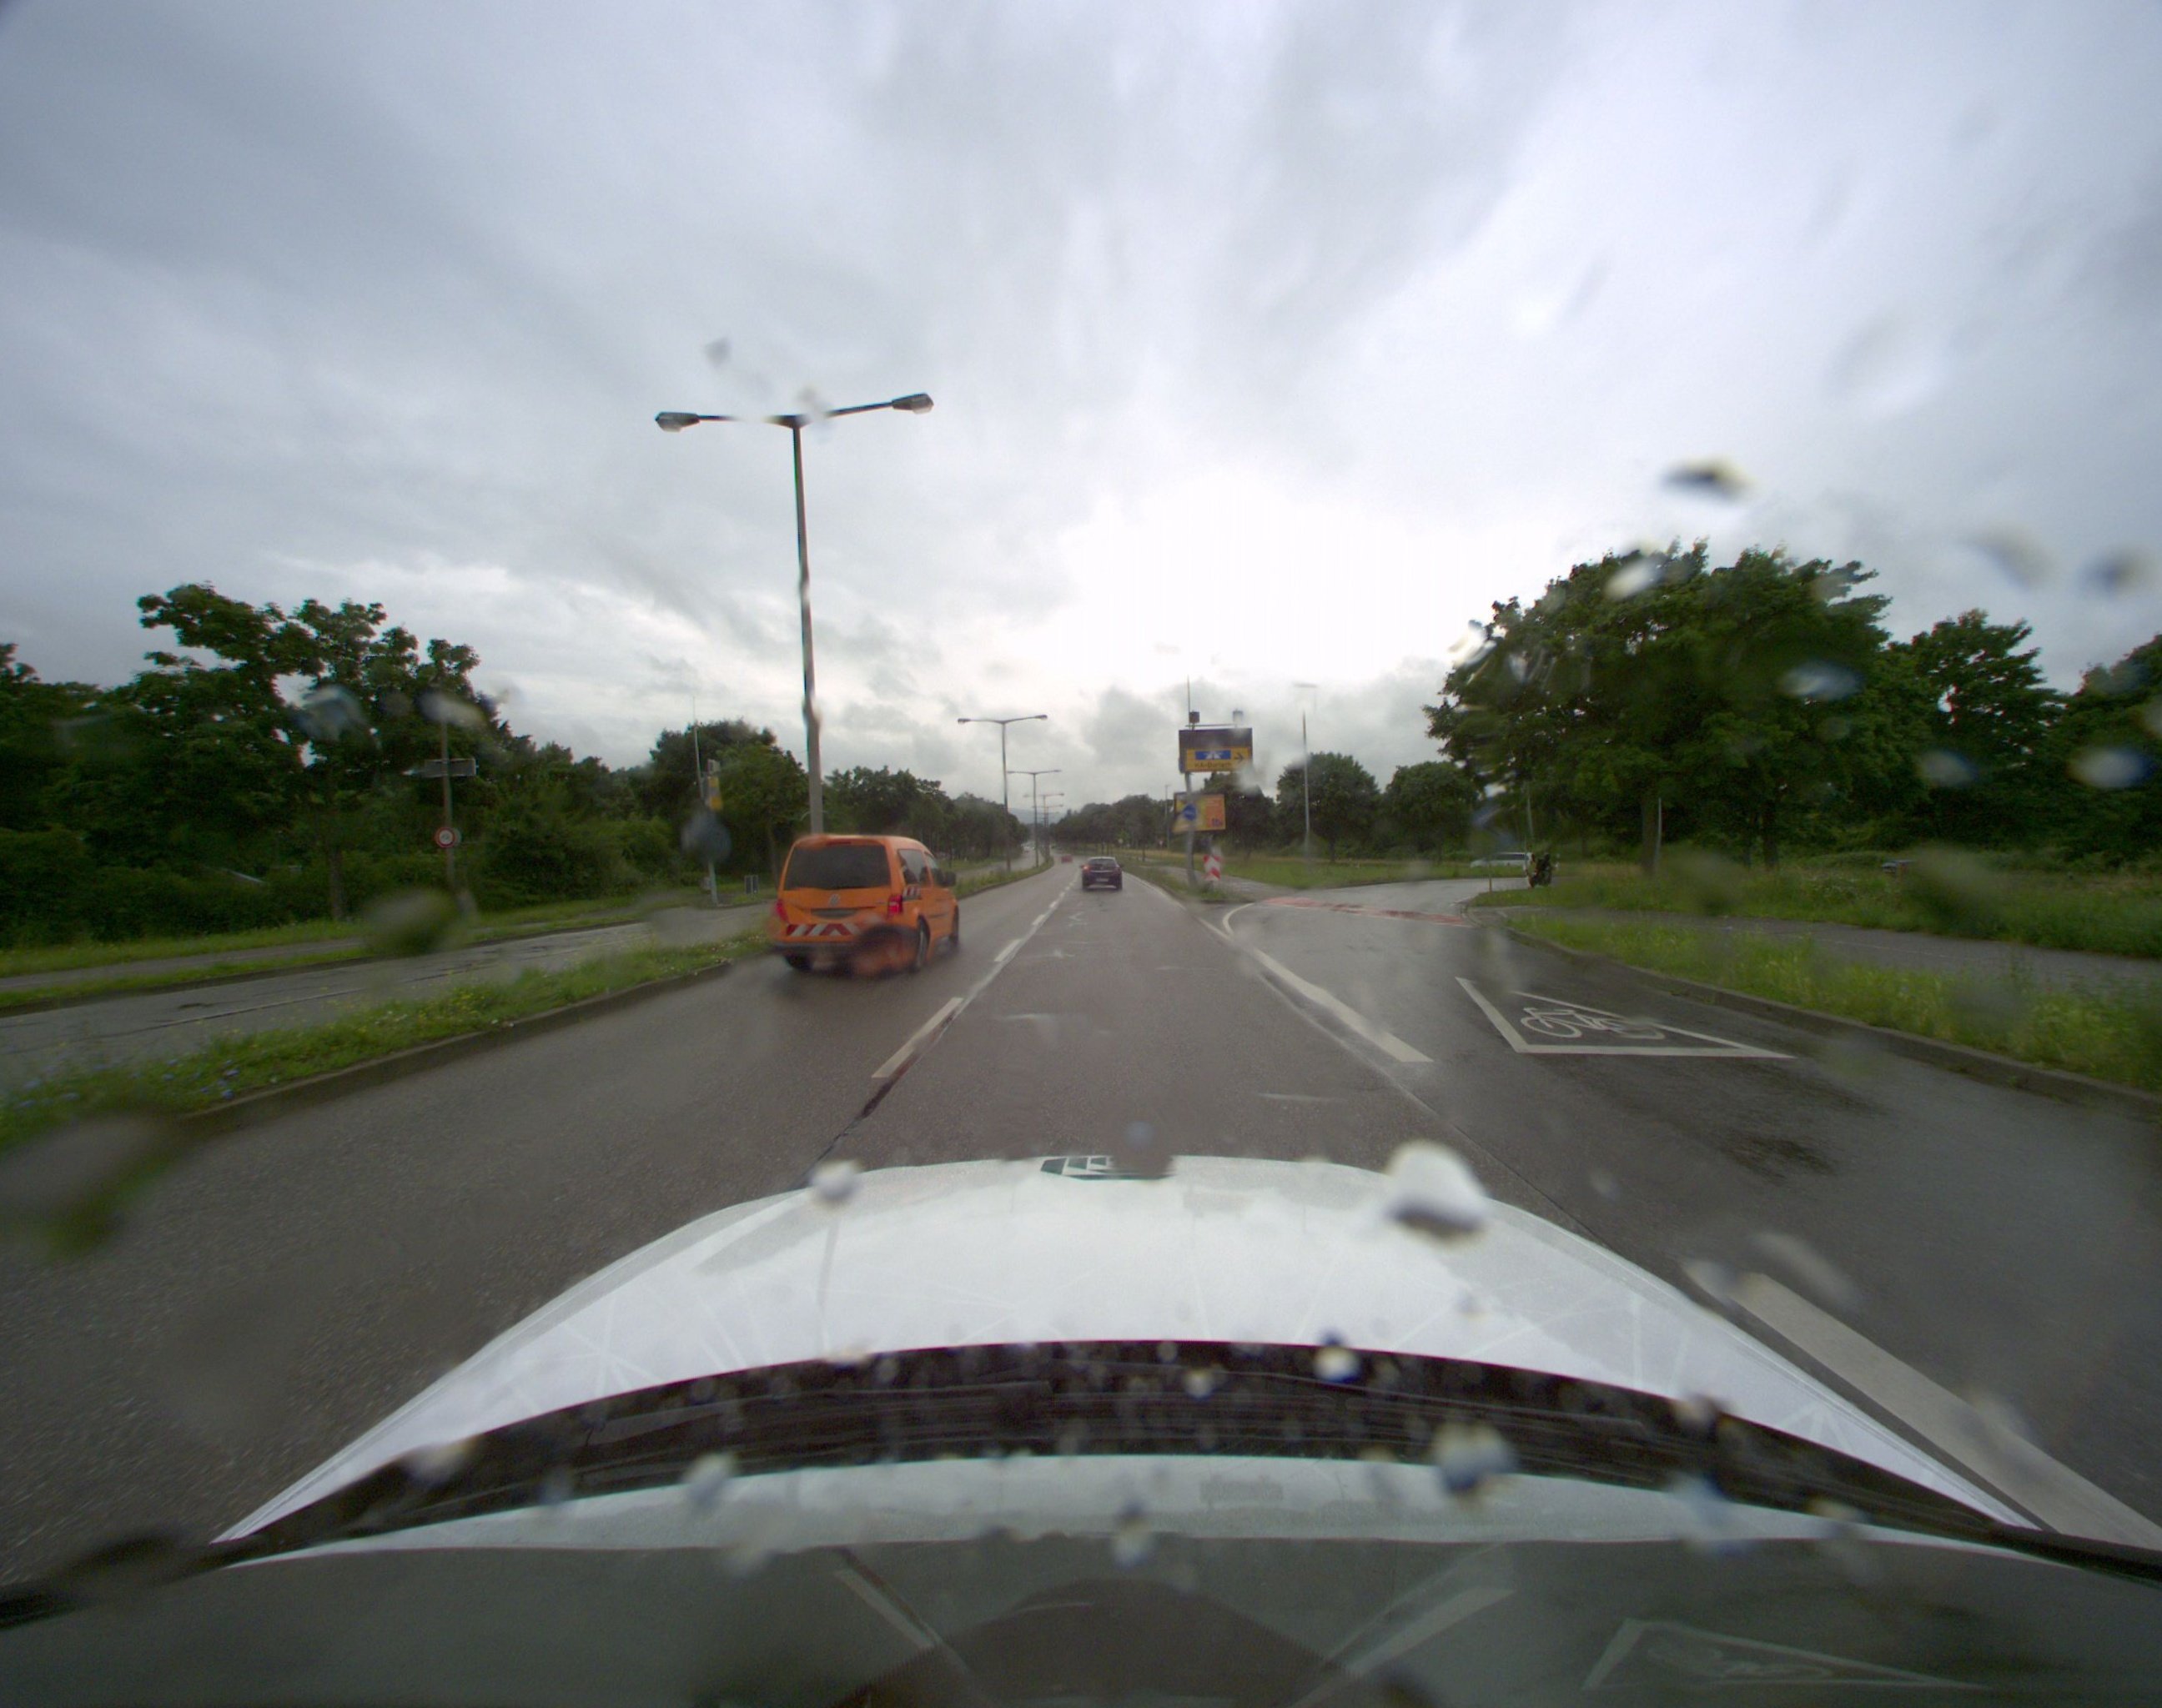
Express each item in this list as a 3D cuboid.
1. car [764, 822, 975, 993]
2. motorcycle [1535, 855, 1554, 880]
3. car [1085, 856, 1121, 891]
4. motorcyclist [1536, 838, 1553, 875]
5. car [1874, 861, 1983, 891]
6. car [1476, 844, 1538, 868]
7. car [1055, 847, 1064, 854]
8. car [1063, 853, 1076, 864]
[{"bbox_3d":[-2.831,0.646,12.109,1.728,2.019,4.850,-1,0,1],"label":"car"},{"bbox_3d":[21.700,0.613,38.093,0.595,1.093,1.743,-2,0,35],"label":"motorcycle"},{"bbox_3d":[0.907,0.810,35.299,1.458,1.328,3.758,-1,1,0],"label":"car"},{"bbox_3d":[21.671,0.130,38.078,0.595,1.690,0.866,-2,0,35],"label":"motorcyclist"},{"bbox_3d":[47.724,1.206,45.933,3.966,1.618,1.864,-1,0,6],"label":"car"},{"bbox_3d":[36.456,0.141,69.706,4.549,1.974,2.079,-1,0,33],"label":"car"},{"bbox_3d":[-6.842,-1.185,257.539,2.510,2.052,5.287,-2,0,-3],"label":"car"},{"bbox_3d":[-1.787,0.722,132.136,1.987,1.879,4.000,-1,0,1],"label":"car"}]
